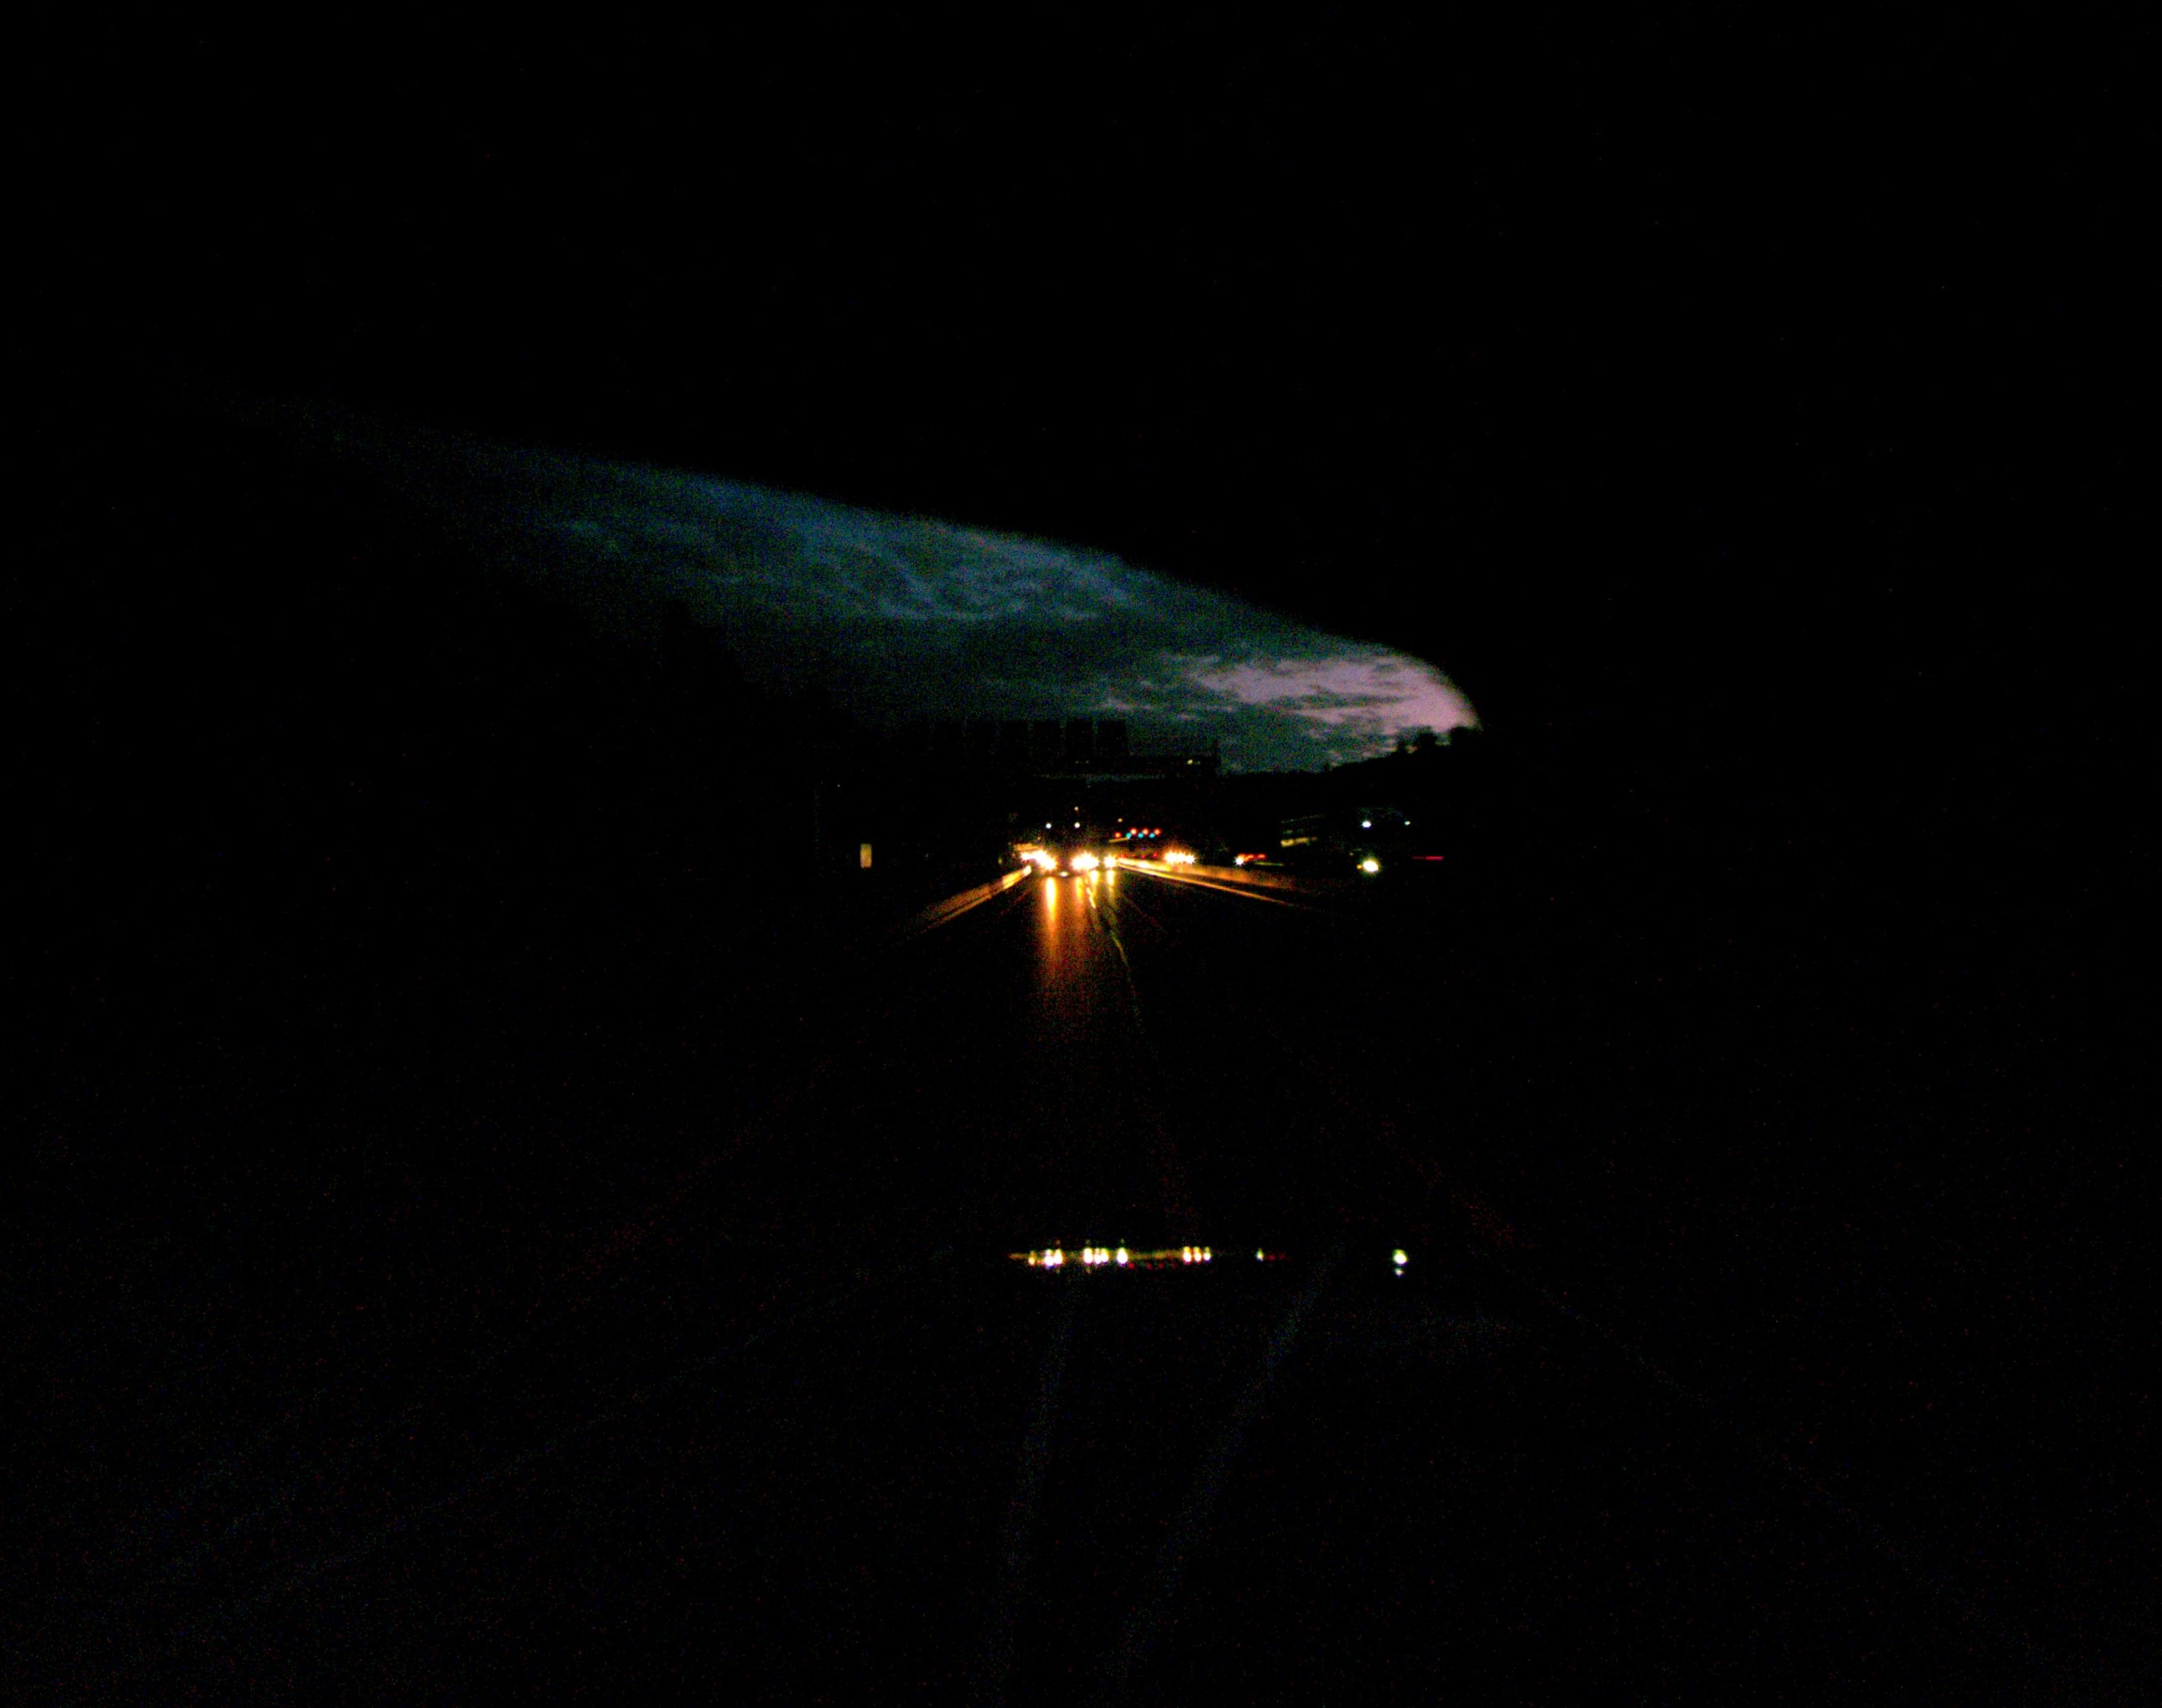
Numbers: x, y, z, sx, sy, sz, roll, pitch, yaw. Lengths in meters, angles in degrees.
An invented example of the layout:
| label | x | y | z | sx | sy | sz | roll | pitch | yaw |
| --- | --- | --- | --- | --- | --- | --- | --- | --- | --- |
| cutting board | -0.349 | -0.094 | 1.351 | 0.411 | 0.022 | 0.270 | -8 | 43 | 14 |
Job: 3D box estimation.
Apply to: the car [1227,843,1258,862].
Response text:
| label | x | y | z | sx | sy | sz | roll | pitch | yaw |
| --- | --- | --- | --- | --- | --- | --- | --- | --- | --- |
| car | 17.281 | -0.212 | 81.532 | 2.096 | 1.873 | 4.699 | -3 | 1 | -2 |

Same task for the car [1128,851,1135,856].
| label | x | y | z | sx | sy | sz | roll | pitch | yaw |
| --- | --- | --- | --- | --- | --- | --- | --- | --- | --- |
| car | 16.040 | -0.135 | 243.214 | 1.809 | 1.628 | 4.750 | -3 | 1 | -1 |

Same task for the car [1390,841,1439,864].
| label | x | y | z | sx | sy | sz | roll | pitch | yaw |
| --- | --- | --- | --- | --- | --- | --- | --- | --- | --- |
| car | 21.808 | -0.134 | 49.797 | 1.631 | 1.398 | 3.519 | -3 | 1 | 0 |

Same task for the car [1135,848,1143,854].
| label | x | y | z | sx | sy | sz | roll | pitch | yaw |
| --- | --- | --- | --- | --- | --- | --- | --- | --- | --- |
| car | 16.159 | -0.806 | 210.485 | 1.741 | 1.628 | 4.890 | -3 | 1 | -1 |

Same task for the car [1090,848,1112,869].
| label | x | y | z | sx | sy | sz | roll | pitch | yaw |
| --- | --- | --- | --- | --- | --- | --- | --- | --- | --- |
| car | 1.713 | 0.351 | 64.226 | 1.662 | 1.586 | 3.996 | -3 | 1 | 2 |

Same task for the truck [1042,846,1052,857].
| label | x | y | z | sx | sy | sz | roll | pitch | yaw |
| --- | --- | --- | --- | --- | --- | --- | --- | --- | --- |
| truck | -9.100 | -0.765 | 204.312 | 1.998 | 2.817 | 6.296 | -3 | 1 | 3 |

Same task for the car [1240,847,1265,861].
| label | x | y | z | sx | sy | sz | roll | pitch | yaw |
| --- | --- | --- | --- | --- | --- | --- | --- | --- | --- |
| car | 22.161 | 0.041 | 98.399 | 1.999 | 1.664 | 4.581 | -3 | 1 | -1 |

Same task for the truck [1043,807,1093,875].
| label | x | y | z | sx | sy | sz | roll | pitch | yaw |
| --- | --- | --- | --- | --- | --- | --- | --- | --- | --- |
| truck | -1.120 | -0.874 | 54.459 | 2.954 | 4.241 | 11.048 | -3 | 1 | -3 |

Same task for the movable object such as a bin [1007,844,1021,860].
| label | x | y | z | sx | sy | sz | roll | pitch | yaw |
| --- | --- | --- | --- | --- | --- | --- | --- | --- | --- |
| movable object such as a bin | -13.162 | -0.410 | 149.318 | 2.628 | 3.090 | 5.803 | -1 | 1 | -4 |

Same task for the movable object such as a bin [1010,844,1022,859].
| label | x | y | z | sx | sy | sz | roll | pitch | yaw |
| --- | --- | --- | --- | --- | --- | --- | --- | --- | --- |
| movable object such as a bin | -14.831 | -0.578 | 172.703 | 2.571 | 3.299 | 5.576 | 0 | 1 | -4 |

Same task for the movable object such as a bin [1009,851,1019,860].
| label | x | y | z | sx | sy | sz | roll | pitch | yaw |
| --- | --- | --- | --- | --- | --- | --- | --- | --- | --- |
| movable object such as a bin | -13.576 | 0.286 | 154.271 | 1.999 | 1.592 | 4.083 | 0 | 1 | -3 |

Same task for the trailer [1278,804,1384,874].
| label | x | y | z | sx | sy | sz | roll | pitch | yaw |
| --- | --- | --- | --- | --- | --- | --- | --- | --- | --- |
| trailer | 15.648 | -0.920 | 48.771 | 2.806 | 3.761 | 11.833 | -3 | 1 | 0 |

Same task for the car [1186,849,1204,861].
| label | x | y | z | sx | sy | sz | roll | pitch | yaw |
| --- | --- | --- | --- | --- | --- | --- | --- | --- | --- |
| car | 15.986 | 0.145 | 107.093 | 1.792 | 1.472 | 3.999 | -3 | 1 | -2 |

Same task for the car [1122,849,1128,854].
| label | x | y | z | sx | sy | sz | roll | pitch | yaw |
| --- | --- | --- | --- | --- | --- | --- | --- | --- | --- |
| car | 15.206 | -0.808 | 263.193 | 1.683 | 1.628 | 4.750 | -3 | 1 | -1 |

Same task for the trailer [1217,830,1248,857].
| label | x | y | z | sx | sy | sz | roll | pitch | yaw |
| --- | --- | --- | --- | --- | --- | --- | --- | --- | --- |
| trailer | 25.716 | -1.800 | 129.573 | 2.785 | 4.181 | 12.400 | -3 | 1 | 1 |

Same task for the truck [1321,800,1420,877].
| label | x | y | z | sx | sy | sz | roll | pitch | yaw |
| --- | --- | --- | --- | --- | --- | --- | --- | --- | --- |
| truck | 15.620 | -0.822 | 41.504 | 2.810 | 3.753 | 6.301 | -3 | 1 | 0 |

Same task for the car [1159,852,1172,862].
| label | x | y | z | sx | sy | sz | roll | pitch | yaw |
| --- | --- | --- | --- | --- | --- | --- | --- | --- | --- |
| car | 13.279 | 0.477 | 119.666 | 1.510 | 1.472 | 3.823 | -3 | 1 | -2 |
